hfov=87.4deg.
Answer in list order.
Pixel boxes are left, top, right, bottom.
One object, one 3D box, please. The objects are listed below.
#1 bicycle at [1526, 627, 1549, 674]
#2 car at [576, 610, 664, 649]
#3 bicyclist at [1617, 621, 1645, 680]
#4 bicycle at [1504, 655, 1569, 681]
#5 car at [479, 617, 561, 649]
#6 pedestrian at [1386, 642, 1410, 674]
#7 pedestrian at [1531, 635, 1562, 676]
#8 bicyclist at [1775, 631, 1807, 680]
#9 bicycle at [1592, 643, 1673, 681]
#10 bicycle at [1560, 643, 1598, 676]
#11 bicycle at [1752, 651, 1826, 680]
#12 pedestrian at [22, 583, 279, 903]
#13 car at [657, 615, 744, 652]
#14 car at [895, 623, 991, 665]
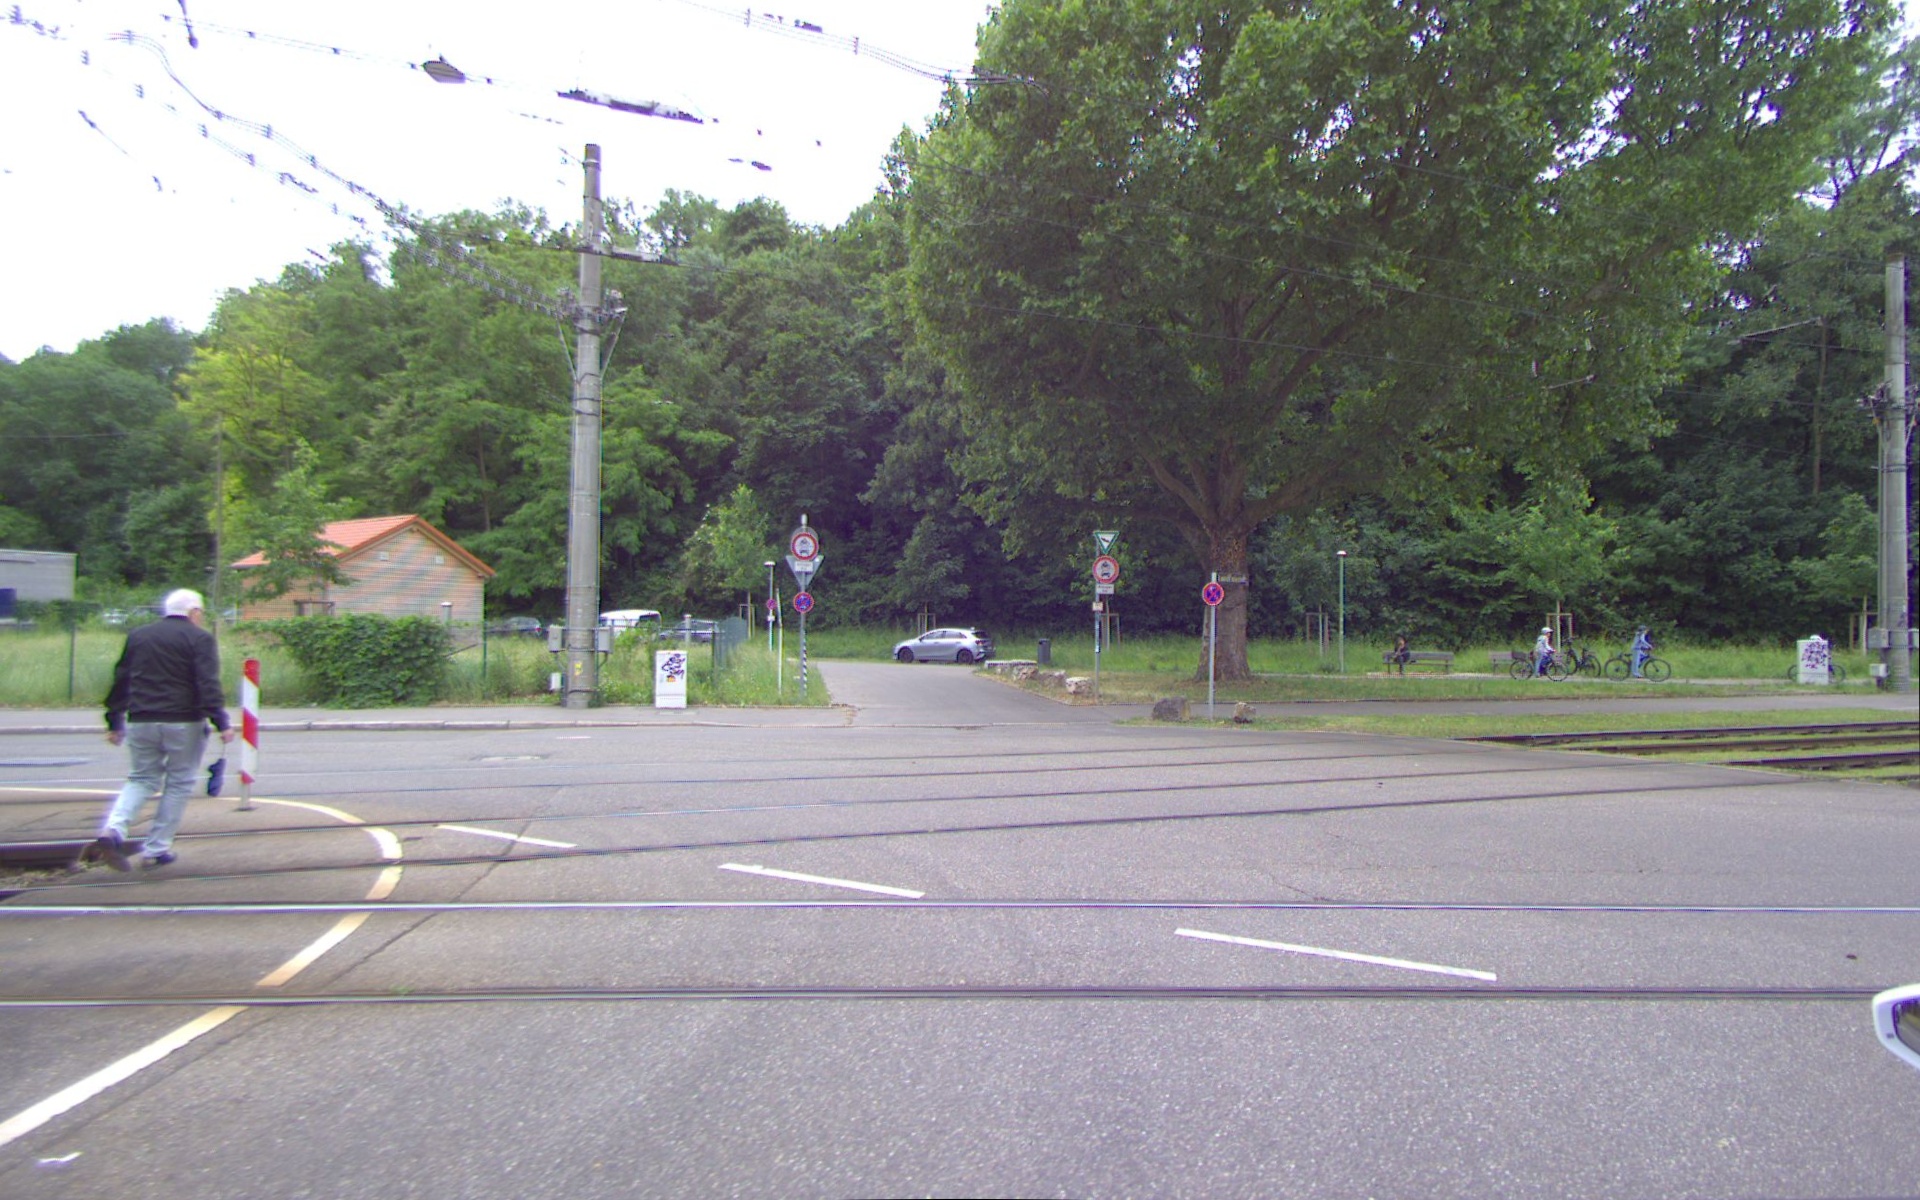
[{"bbox_3d":[17.174,1.499,29.881,0.506,1.348,0.455,-1,2,20],"label":"bicycle"},{"bbox_3d":[-15.950,1.371,47.157,3.611,1.634,1.908,2,1,25],"label":"car"},{"bbox_3d":[19.640,1.472,29.396,0.612,1.697,0.474,0,2,27],"label":"bicyclist"},{"bbox_3d":[17.149,2.018,29.909,1.620,0.748,0.455,-1,1,20],"label":"bicycle"},{"bbox_3d":[-21.820,1.618,49.796,3.611,1.396,1.756,2,1,25],"label":"car"},{"bbox_3d":[14.431,1.910,33.085,0.607,1.003,0.532,1,1,14],"label":"pedestrian"},{"bbox_3d":[18.573,1.749,31.830,0.659,1.252,0.580,1,1,12],"label":"pedestrian"},{"bbox_3d":[23.313,1.554,28.176,0.570,1.319,0.454,-3,2,27],"label":"bicyclist"},{"bbox_3d":[19.665,1.800,29.400,1.909,1.055,0.474,-1,2,27],"label":"bicycle"},{"bbox_3d":[19.653,1.870,31.929,0.610,0.897,1.747,1,1,18],"label":"bicycle"},{"bbox_3d":[23.271,1.846,28.215,1.530,0.748,0.454,-3,2,27],"label":"bicycle"},{"bbox_3d":[-4.933,0.793,6.217,0.799,1.784,1.118,1,1,-11],"label":"pedestrian"},{"bbox_3d":[-11.551,1.451,44.663,3.437,1.443,1.699,2,1,25],"label":"car"},{"bbox_3d":[-0.680,1.745,40.270,3.437,1.443,1.699,2,1,25],"label":"car"}]
